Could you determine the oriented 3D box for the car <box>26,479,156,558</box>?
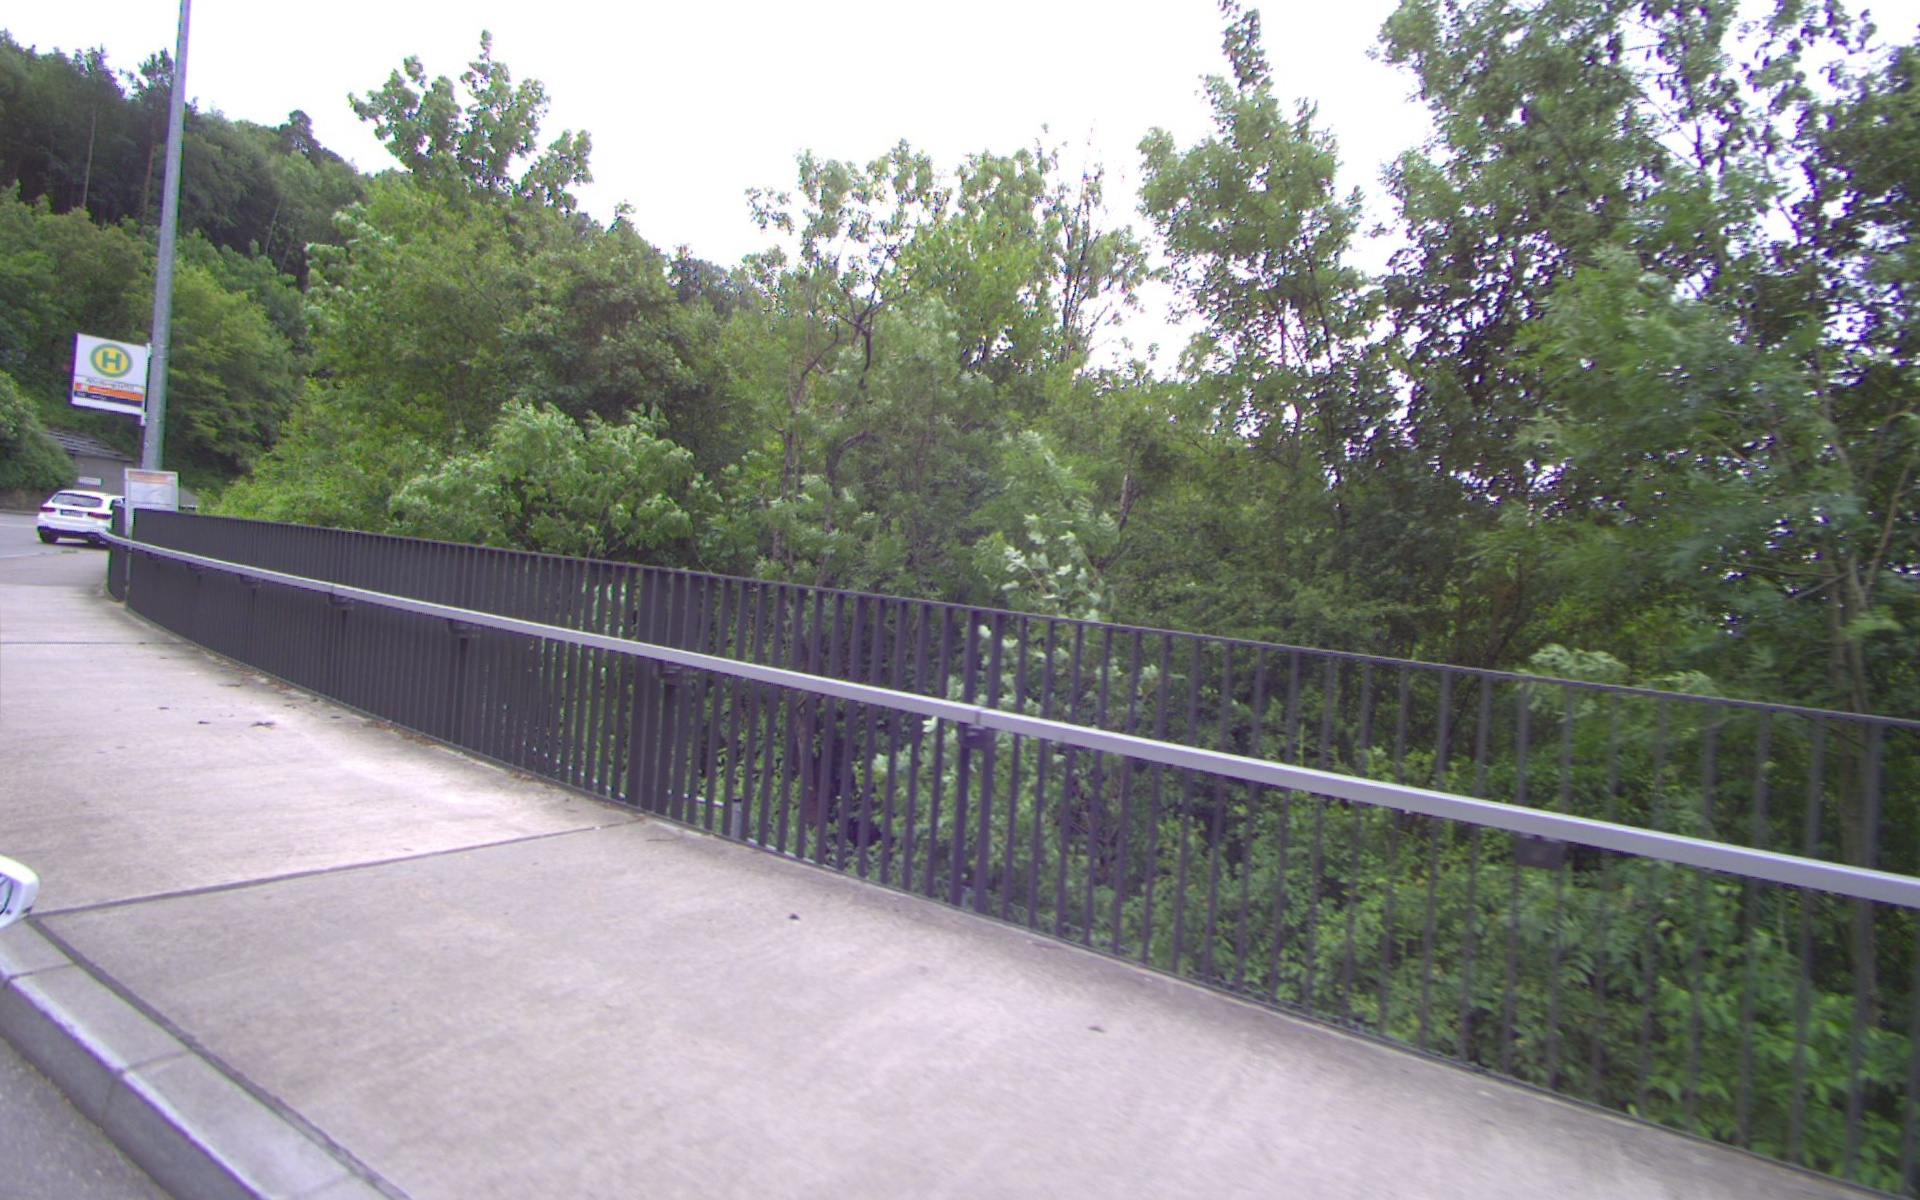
[{"bbox_3d":[-26.581,-2.427,30.932,1.979,1.864,4.122,9,-3,-28],"label":"car"}]

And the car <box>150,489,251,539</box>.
[{"bbox_3d":[-33.836,-3.793,44.970,1.719,1.536,4.303,8,-3,-11],"label":"car"}]
